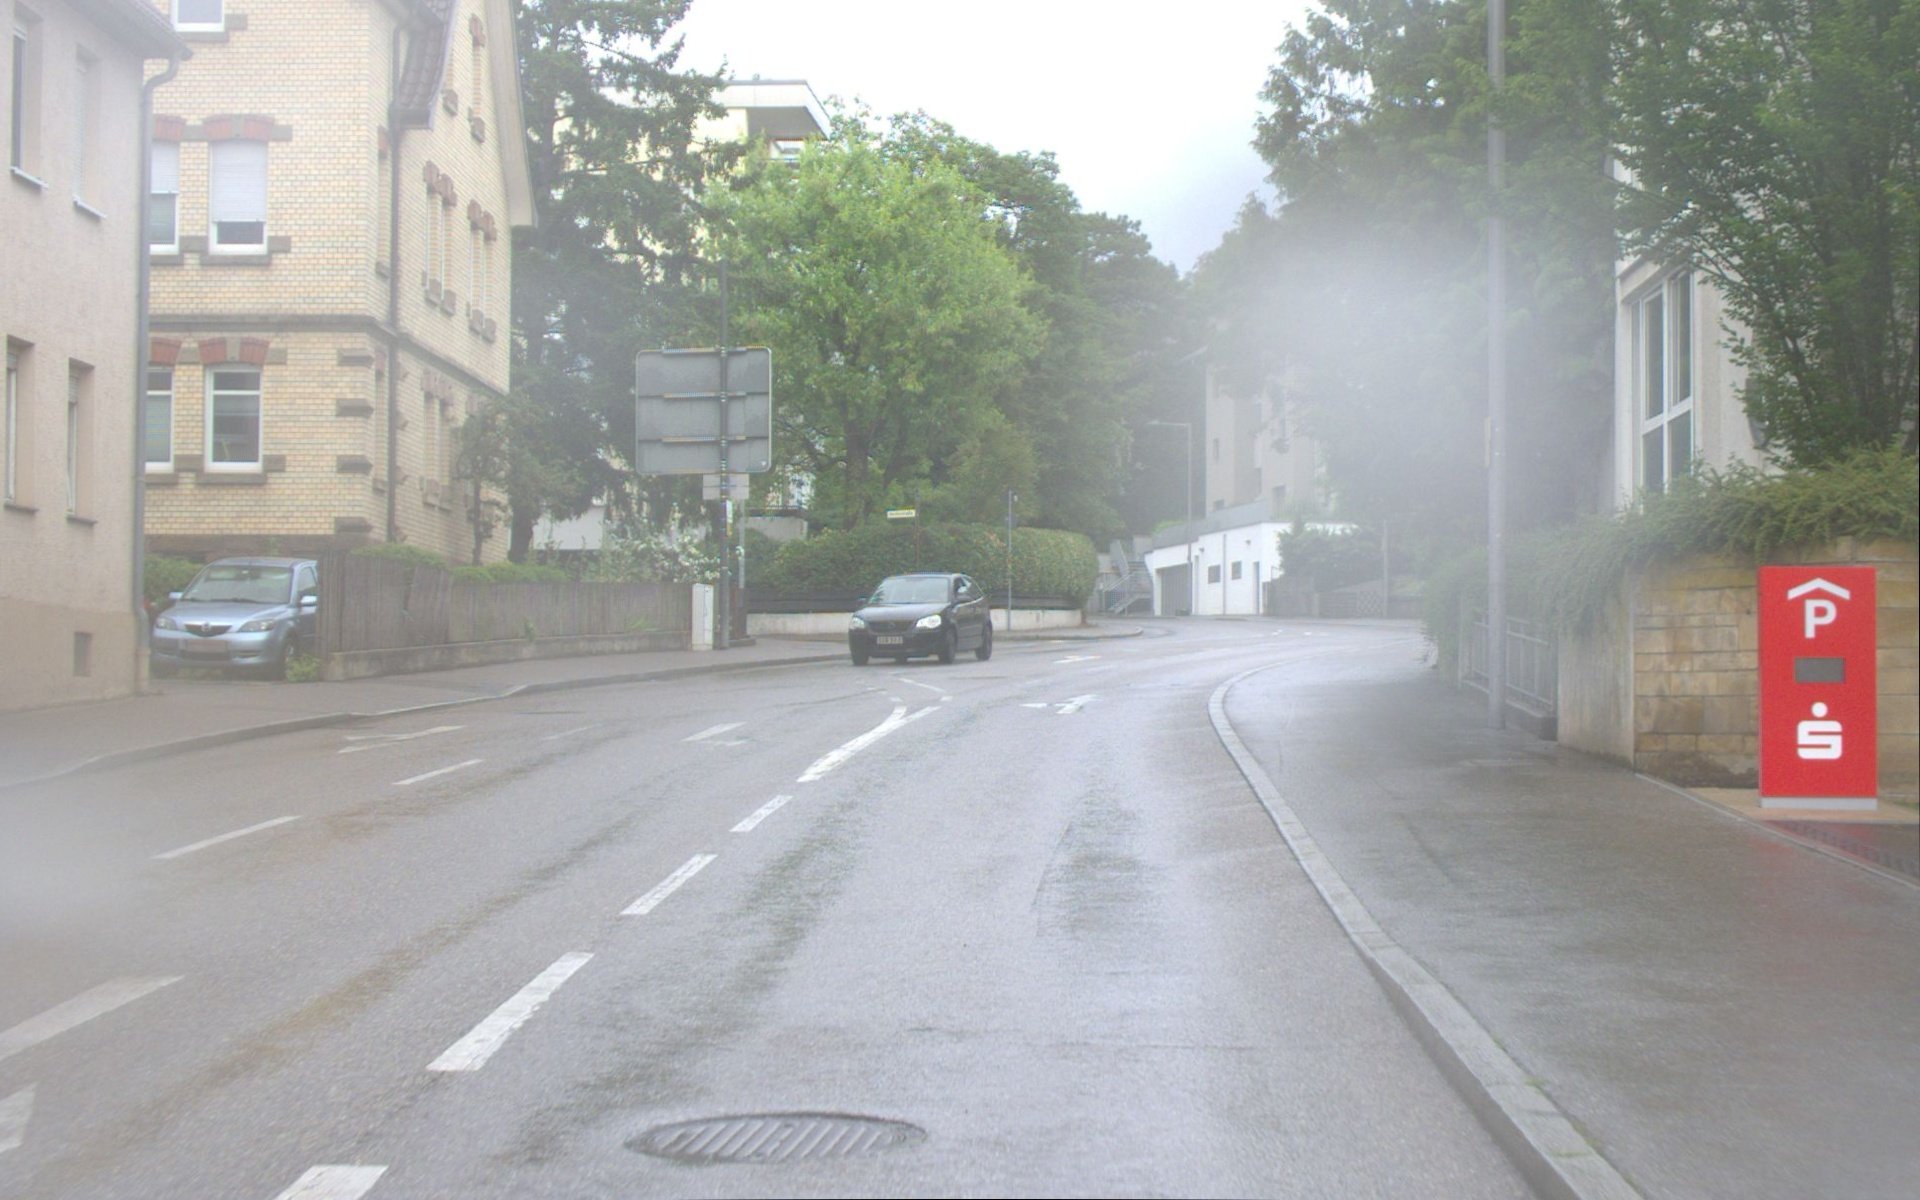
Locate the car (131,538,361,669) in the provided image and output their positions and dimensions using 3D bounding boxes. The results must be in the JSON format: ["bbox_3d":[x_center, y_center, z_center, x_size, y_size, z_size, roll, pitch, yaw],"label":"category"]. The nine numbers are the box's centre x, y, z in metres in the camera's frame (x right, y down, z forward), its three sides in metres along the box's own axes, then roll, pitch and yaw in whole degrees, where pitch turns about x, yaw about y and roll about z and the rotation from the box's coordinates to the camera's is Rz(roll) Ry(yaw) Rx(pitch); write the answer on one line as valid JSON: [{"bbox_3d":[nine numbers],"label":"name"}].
[{"bbox_3d":[-8.760,0.007,42.474,1.771,1.498,3.882,1,1,4],"label":"car"}]

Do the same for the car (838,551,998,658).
[{"bbox_3d":[-0.638,0.067,55.259,1.746,1.566,3.811,3,1,11],"label":"car"}]
